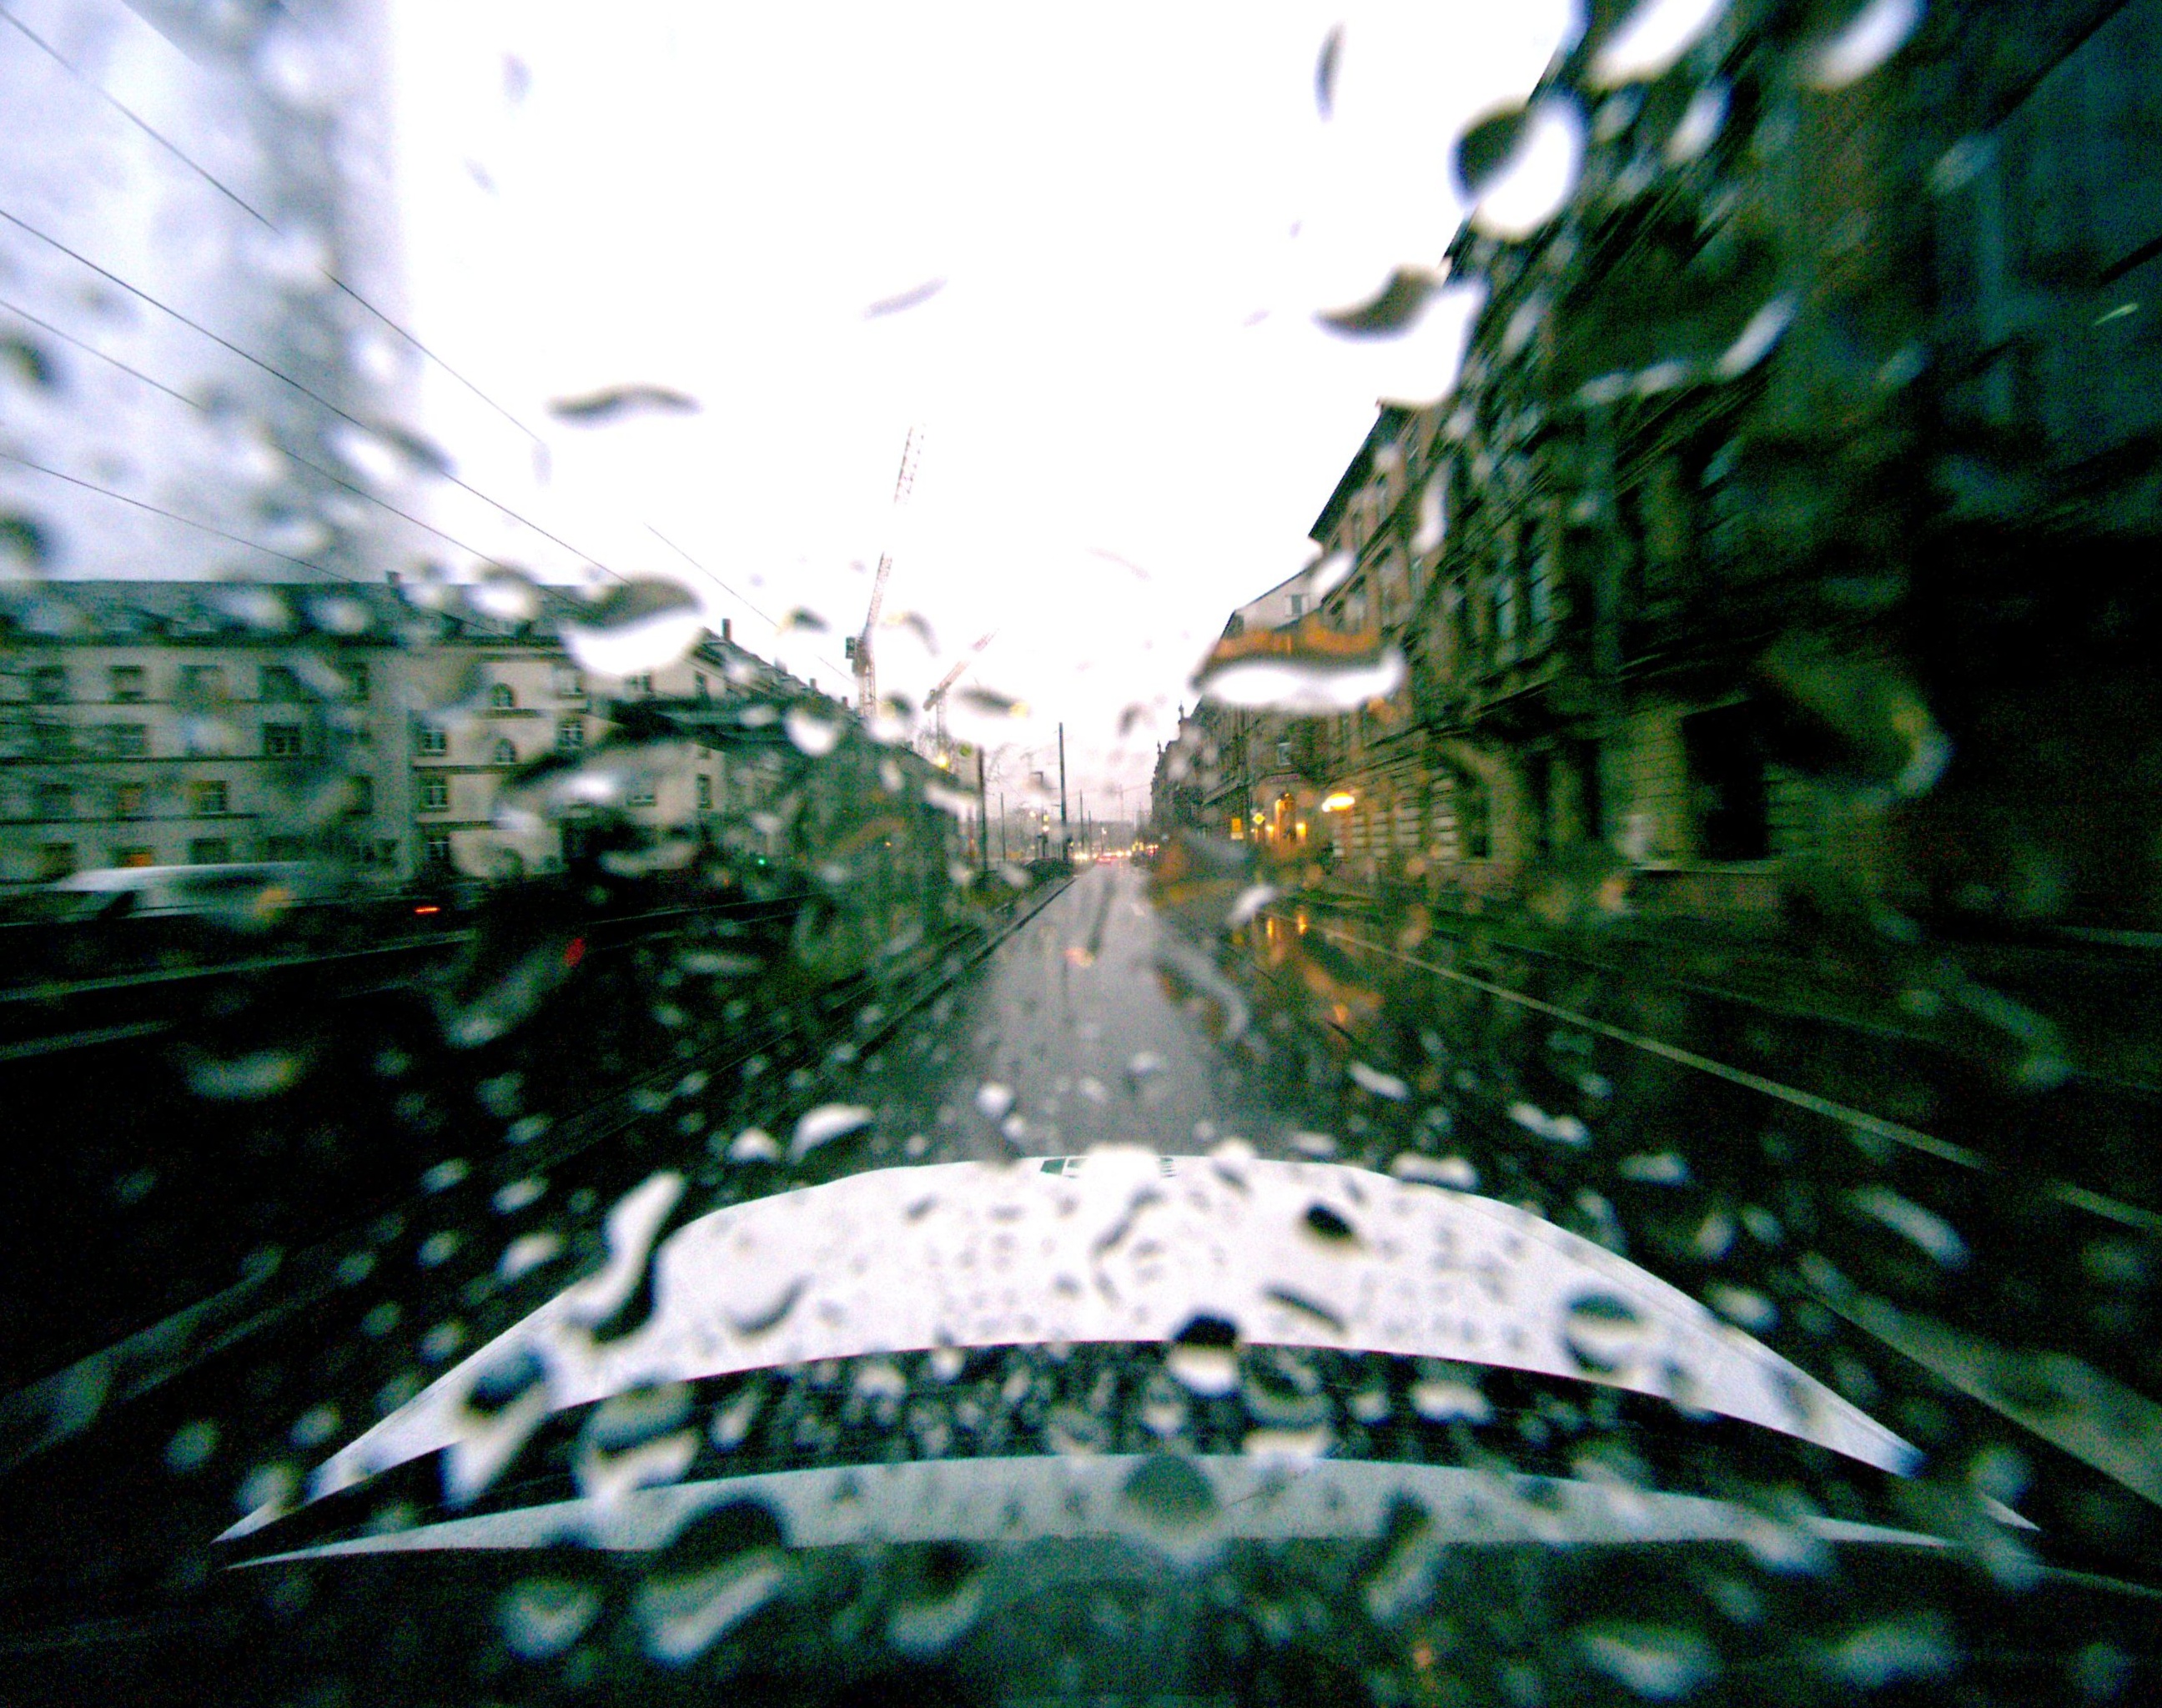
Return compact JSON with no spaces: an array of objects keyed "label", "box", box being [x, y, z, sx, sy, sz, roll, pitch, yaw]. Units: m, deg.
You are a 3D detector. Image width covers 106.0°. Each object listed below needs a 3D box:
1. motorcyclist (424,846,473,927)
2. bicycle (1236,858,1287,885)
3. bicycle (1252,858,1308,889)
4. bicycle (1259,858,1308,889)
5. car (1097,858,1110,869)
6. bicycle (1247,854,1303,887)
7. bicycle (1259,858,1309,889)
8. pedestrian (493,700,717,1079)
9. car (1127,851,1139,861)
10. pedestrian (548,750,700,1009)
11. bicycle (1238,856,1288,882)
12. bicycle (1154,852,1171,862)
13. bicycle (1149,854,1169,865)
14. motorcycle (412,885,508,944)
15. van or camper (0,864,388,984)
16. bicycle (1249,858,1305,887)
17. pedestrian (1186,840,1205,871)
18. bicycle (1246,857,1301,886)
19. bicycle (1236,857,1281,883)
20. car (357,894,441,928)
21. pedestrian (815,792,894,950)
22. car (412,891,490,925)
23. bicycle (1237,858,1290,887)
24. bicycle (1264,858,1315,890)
[{"label":"motorcyclist","box":[-12.016,0.607,15.479,0.498,1.496,0.556,-1,0,-4]},{"label":"bicycle","box":[7.863,0.760,35.464,2.081,1.052,0.478,-4,0,0]},{"label":"bicycle","box":[8.117,0.788,33.274,2.137,1.055,0.425,-5,1,0]},{"label":"bicycle","box":[7.765,0.738,31.212,1.724,1.055,0.371,-4,0,0]},{"label":"car","box":[3.441,1.420,124.364,1.776,1.467,3.151,-2,0,3]},{"label":"bicycle","box":[7.588,0.653,31.911,2.001,1.095,0.425,-5,0,0]},{"label":"bicycle","box":[7.622,0.735,30.532,1.724,1.055,0.371,-4,0,0]},{"label":"pedestrian","box":[-2.868,0.201,5.000,0.806,2.110,0.805,-2,0,2]},{"label":"car","box":[8.841,0.385,138.157,1.791,1.604,3.774,-3,0,4]},{"label":"pedestrian","box":[-3.970,0.206,7.143,0.807,2.110,0.804,-2,0,-1]},{"label":"bicycle","box":[8.128,0.667,36.483,2.081,1.052,0.478,-4,0,0]},{"label":"bicycle","box":[9.566,0.375,95.414,1.845,1.058,0.471,-3,0,-1]},{"label":"bicycle","box":[8.757,0.619,91.490,2.143,1.057,0.525,-3,0,-5]},{"label":"motorcycle","box":[-12.003,1.140,15.809,0.511,1.008,1.805,-1,0,-2]},{"label":"van or camper","box":[-23.742,1.684,22.437,2.755,2.682,6.775,-1,0,11]},{"label":"bicycle","box":[8.130,0.774,33.817,2.137,1.055,0.484,-4,0,0]},{"label":"pedestrian","box":[7.748,0.099,55.143,0.858,2.013,0.910,-2,0,-28]},{"label":"bicycle","box":[7.660,0.695,32.408,2.001,0.971,0.425,-5,0,0]},{"label":"bicycle","box":[8.182,0.747,37.541,2.098,1.052,0.474,-4,0,-25]},{"label":"car","box":[-34.254,2.846,41.025,1.451,1.425,3.313,-3,0,-3]},{"label":"pedestrian","box":[-3.143,0.227,11.393,0.807,2.110,0.804,-2,0,-1]},{"label":"car","box":[-32.124,2.713,41.623,1.451,1.425,3.313,-3,0,-3]},{"label":"bicycle","box":[7.830,0.784,34.940,2.137,1.055,0.425,-5,1,0]},{"label":"bicycle","box":[7.667,0.731,30.029,1.724,1.055,0.371,-4,0,0]}]
